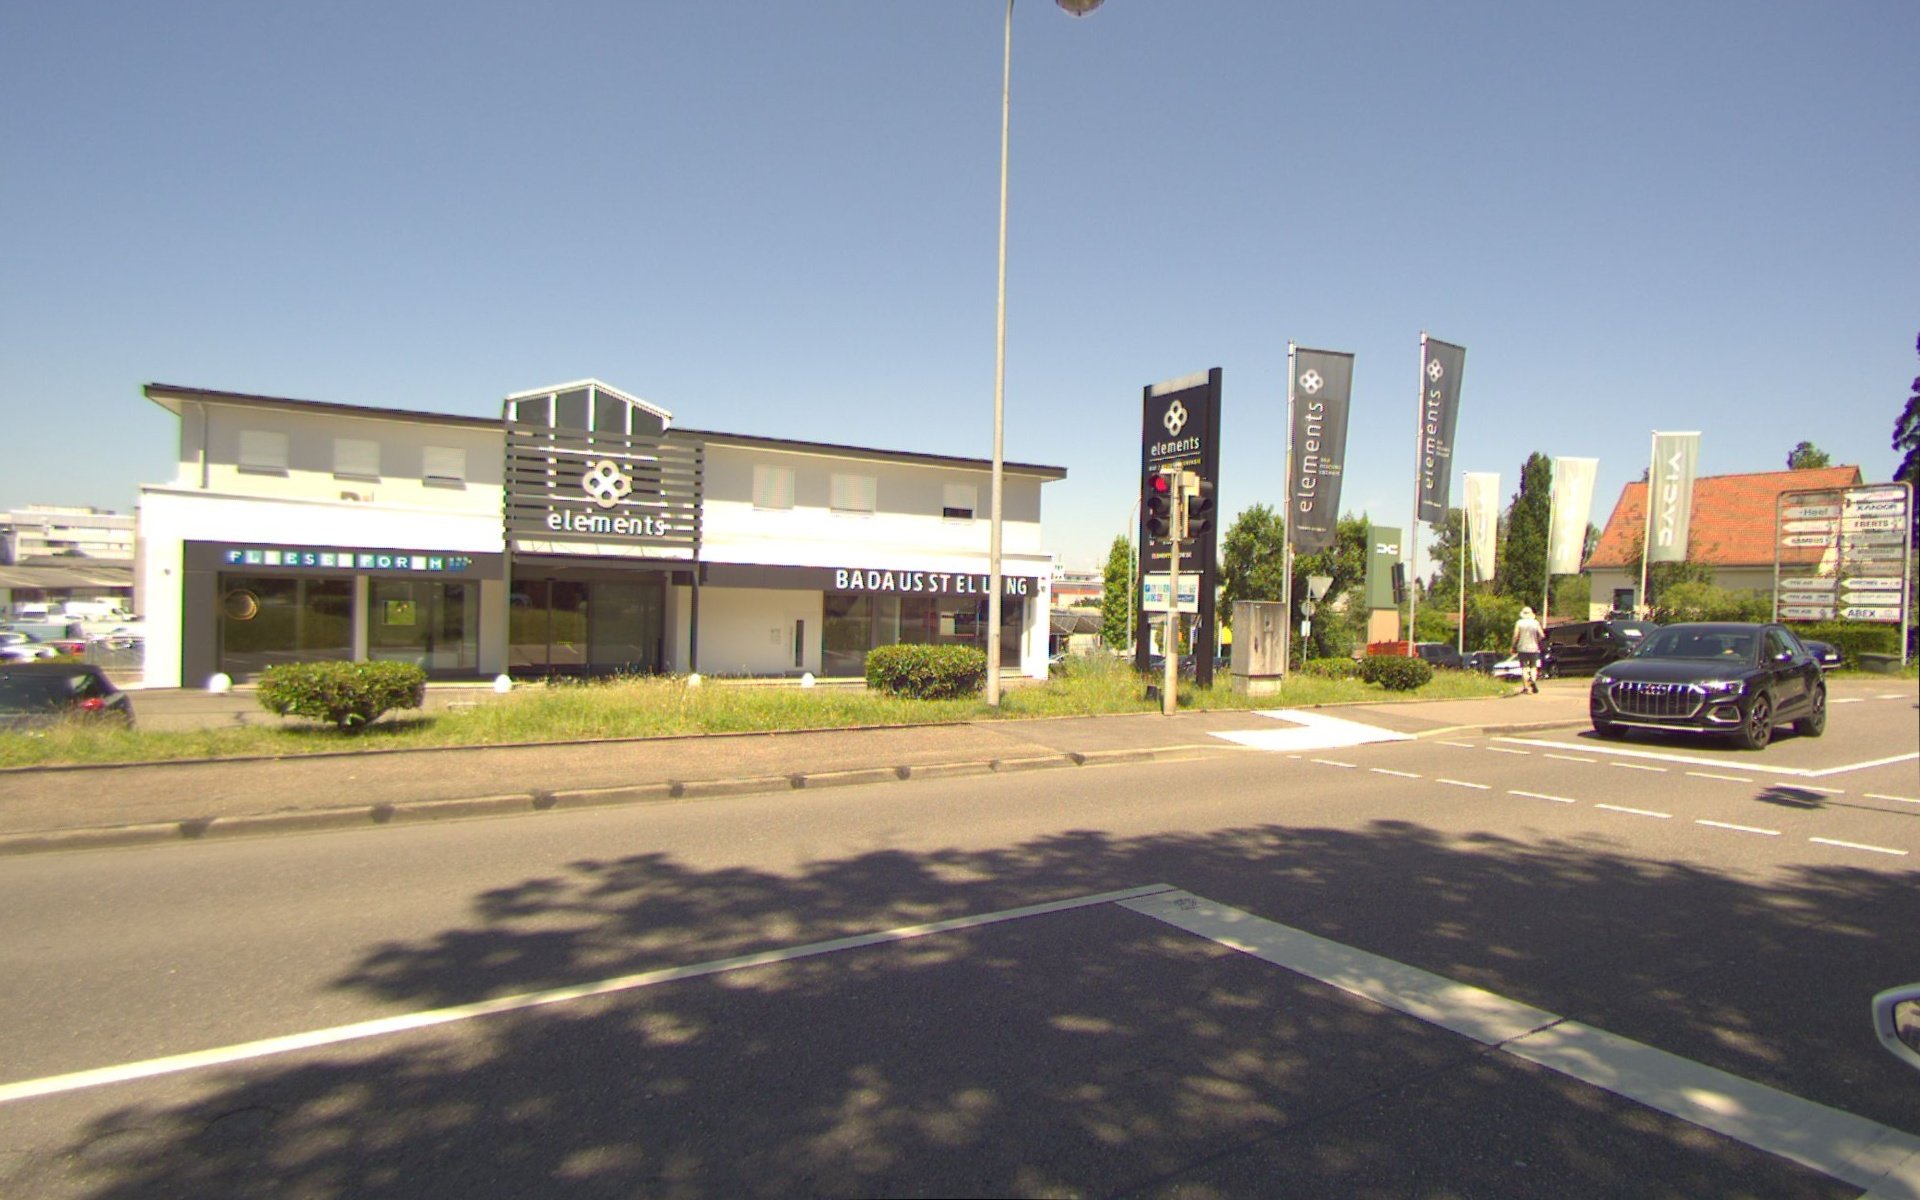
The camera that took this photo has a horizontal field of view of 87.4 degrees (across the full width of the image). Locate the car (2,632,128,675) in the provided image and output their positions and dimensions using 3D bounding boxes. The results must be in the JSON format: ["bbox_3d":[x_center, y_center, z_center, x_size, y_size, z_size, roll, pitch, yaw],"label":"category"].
[{"bbox_3d":[-38.913,2.319,43.774,3.726,1.778,1.719,2,-1,-28],"label":"car"}]

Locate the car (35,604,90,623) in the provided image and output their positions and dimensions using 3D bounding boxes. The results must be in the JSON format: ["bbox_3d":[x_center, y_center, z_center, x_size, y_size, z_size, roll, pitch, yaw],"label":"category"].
[{"bbox_3d":[-88.194,1.336,98.766,3.726,1.778,1.719,2,0,-28],"label":"car"}]

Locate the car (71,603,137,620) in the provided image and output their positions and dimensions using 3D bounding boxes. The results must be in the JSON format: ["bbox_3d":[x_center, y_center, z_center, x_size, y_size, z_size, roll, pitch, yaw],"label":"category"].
[{"bbox_3d":[-95.770,1.314,112.475,5.236,1.778,2.051,2,-1,-28],"label":"car"}]

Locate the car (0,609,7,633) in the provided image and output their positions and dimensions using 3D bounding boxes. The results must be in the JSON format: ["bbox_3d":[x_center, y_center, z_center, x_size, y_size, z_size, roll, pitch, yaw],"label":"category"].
[{"bbox_3d":[-74.816,1.597,75.844,3.726,1.778,1.719,2,1,-28],"label":"car"}]

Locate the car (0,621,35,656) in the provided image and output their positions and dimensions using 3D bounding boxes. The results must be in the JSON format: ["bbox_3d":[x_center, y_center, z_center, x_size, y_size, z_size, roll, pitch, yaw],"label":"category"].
[{"bbox_3d":[-51.428,2.014,52.789,3.726,1.778,1.719,2,-1,-28],"label":"car"}]

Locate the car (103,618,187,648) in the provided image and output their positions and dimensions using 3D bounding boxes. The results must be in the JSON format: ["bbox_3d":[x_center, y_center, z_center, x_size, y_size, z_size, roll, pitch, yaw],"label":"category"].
[{"bbox_3d":[-50.341,2.060,62.115,3.726,1.778,1.719,2,-1,-28],"label":"car"}]

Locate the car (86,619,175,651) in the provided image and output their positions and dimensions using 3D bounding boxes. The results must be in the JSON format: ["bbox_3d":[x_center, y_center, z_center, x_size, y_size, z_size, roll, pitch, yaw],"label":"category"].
[{"bbox_3d":[-49.059,2.082,59.462,3.726,1.778,1.719,2,-1,-28],"label":"car"}]

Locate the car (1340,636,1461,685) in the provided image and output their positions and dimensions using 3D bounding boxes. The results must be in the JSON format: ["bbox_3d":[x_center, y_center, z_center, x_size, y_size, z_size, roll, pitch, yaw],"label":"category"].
[{"bbox_3d":[16.875,2.316,38.525,4.022,1.744,1.808,2,0,-16],"label":"car"}]

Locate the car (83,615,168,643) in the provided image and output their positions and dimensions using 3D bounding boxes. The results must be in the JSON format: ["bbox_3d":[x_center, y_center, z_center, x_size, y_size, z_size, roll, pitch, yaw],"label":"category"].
[{"bbox_3d":[-55.263,1.929,66.609,4.004,1.778,1.719,2,-1,-28],"label":"car"}]

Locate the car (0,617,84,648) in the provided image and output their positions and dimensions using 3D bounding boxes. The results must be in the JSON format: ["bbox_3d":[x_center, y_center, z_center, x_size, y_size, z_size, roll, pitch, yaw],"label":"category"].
[{"bbox_3d":[-54.805,1.913,59.770,3.726,1.778,1.719,2,-1,-28],"label":"car"}]

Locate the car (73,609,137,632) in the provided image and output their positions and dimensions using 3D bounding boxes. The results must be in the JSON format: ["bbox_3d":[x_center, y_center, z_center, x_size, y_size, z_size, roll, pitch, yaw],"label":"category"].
[{"bbox_3d":[-71.031,1.723,83.495,3.726,1.778,1.719,2,0,-28],"label":"car"}]

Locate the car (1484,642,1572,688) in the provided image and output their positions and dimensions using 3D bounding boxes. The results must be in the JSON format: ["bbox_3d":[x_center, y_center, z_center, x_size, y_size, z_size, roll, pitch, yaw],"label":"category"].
[{"bbox_3d":[23.899,2.680,42.218,4.053,1.744,1.795,2,0,-38],"label":"car"}]

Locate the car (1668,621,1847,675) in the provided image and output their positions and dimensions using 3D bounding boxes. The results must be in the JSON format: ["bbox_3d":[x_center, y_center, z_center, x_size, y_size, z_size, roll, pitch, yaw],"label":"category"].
[{"bbox_3d":[24.983,1.466,31.657,1.751,1.524,4.129,1,-1,-20],"label":"car"}]

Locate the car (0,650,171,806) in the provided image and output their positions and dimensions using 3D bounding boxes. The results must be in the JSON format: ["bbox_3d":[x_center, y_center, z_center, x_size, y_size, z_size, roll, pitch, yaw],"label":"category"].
[{"bbox_3d":[-11.819,1.506,12.829,1.746,1.553,4.076,1,-1,-24],"label":"car"}]

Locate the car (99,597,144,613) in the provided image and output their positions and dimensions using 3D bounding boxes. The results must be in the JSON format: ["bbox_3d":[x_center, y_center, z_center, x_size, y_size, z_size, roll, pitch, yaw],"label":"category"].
[{"bbox_3d":[-99.896,0.628,119.687,3.726,1.778,1.719,2,-1,-28],"label":"car"}]

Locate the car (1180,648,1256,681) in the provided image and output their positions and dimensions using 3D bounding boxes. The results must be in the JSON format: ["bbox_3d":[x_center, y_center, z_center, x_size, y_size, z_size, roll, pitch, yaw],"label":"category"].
[{"bbox_3d":[12.303,3.057,47.864,3.838,1.434,1.633,2,-1,-41],"label":"car"}]

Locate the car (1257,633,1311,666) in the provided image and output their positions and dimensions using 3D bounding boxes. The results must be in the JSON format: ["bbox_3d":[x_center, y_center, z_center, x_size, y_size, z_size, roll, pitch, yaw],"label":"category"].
[{"bbox_3d":[18.768,2.821,58.136,1.785,1.744,4.075,1,0,36],"label":"car"}]

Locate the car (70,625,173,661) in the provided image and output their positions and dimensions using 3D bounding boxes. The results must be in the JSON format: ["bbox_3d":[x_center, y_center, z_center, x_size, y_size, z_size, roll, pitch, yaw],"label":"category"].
[{"bbox_3d":[-43.281,2.224,51.953,3.726,1.778,1.719,2,-1,-28],"label":"car"}]

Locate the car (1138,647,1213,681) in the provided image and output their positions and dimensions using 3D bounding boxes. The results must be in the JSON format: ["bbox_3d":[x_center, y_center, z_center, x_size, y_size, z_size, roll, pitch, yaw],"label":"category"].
[{"bbox_3d":[10.818,3.183,50.301,3.973,1.506,1.735,2,-1,-44],"label":"car"}]

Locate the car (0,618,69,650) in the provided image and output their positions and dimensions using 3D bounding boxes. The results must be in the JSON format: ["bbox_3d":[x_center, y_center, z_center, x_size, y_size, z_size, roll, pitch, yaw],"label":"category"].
[{"bbox_3d":[-53.403,1.940,57.123,3.726,1.778,1.719,2,-1,-28],"label":"car"}]

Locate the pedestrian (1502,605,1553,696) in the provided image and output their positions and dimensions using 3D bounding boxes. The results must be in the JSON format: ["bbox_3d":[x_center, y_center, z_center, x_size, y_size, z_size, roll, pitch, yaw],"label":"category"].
[{"bbox_3d":[11.419,1.010,20.228,0.689,1.785,0.545,1,0,-4],"label":"pedestrian"}]

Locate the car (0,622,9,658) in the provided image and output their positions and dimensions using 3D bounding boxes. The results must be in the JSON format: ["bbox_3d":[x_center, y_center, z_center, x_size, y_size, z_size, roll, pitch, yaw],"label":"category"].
[{"bbox_3d":[-49.207,1.961,48.966,3.726,1.778,1.719,2,-1,-28],"label":"car"}]

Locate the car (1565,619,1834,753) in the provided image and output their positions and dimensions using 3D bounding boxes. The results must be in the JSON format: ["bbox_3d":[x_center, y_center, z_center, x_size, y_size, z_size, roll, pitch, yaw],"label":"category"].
[{"bbox_3d":[10.439,1.098,14.087,4.263,1.576,1.912,2,-1,-37],"label":"car"}]

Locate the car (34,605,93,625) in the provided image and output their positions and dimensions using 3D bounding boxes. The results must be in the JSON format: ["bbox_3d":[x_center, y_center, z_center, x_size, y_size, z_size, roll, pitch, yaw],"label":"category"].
[{"bbox_3d":[-84.127,1.444,94.316,3.726,1.778,1.719,1,0,-28],"label":"car"}]

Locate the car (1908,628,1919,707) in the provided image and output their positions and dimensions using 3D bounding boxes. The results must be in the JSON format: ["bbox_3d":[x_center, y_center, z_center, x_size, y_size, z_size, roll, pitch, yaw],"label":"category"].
[{"bbox_3d":[20.543,1.346,19.817,4.011,1.527,1.857,2,-1,-34],"label":"car"}]

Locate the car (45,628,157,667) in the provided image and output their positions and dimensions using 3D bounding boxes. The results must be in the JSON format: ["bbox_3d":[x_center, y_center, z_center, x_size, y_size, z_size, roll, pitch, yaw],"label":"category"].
[{"bbox_3d":[-41.230,2.270,48.319,3.726,1.778,1.719,2,-1,-28],"label":"car"}]
